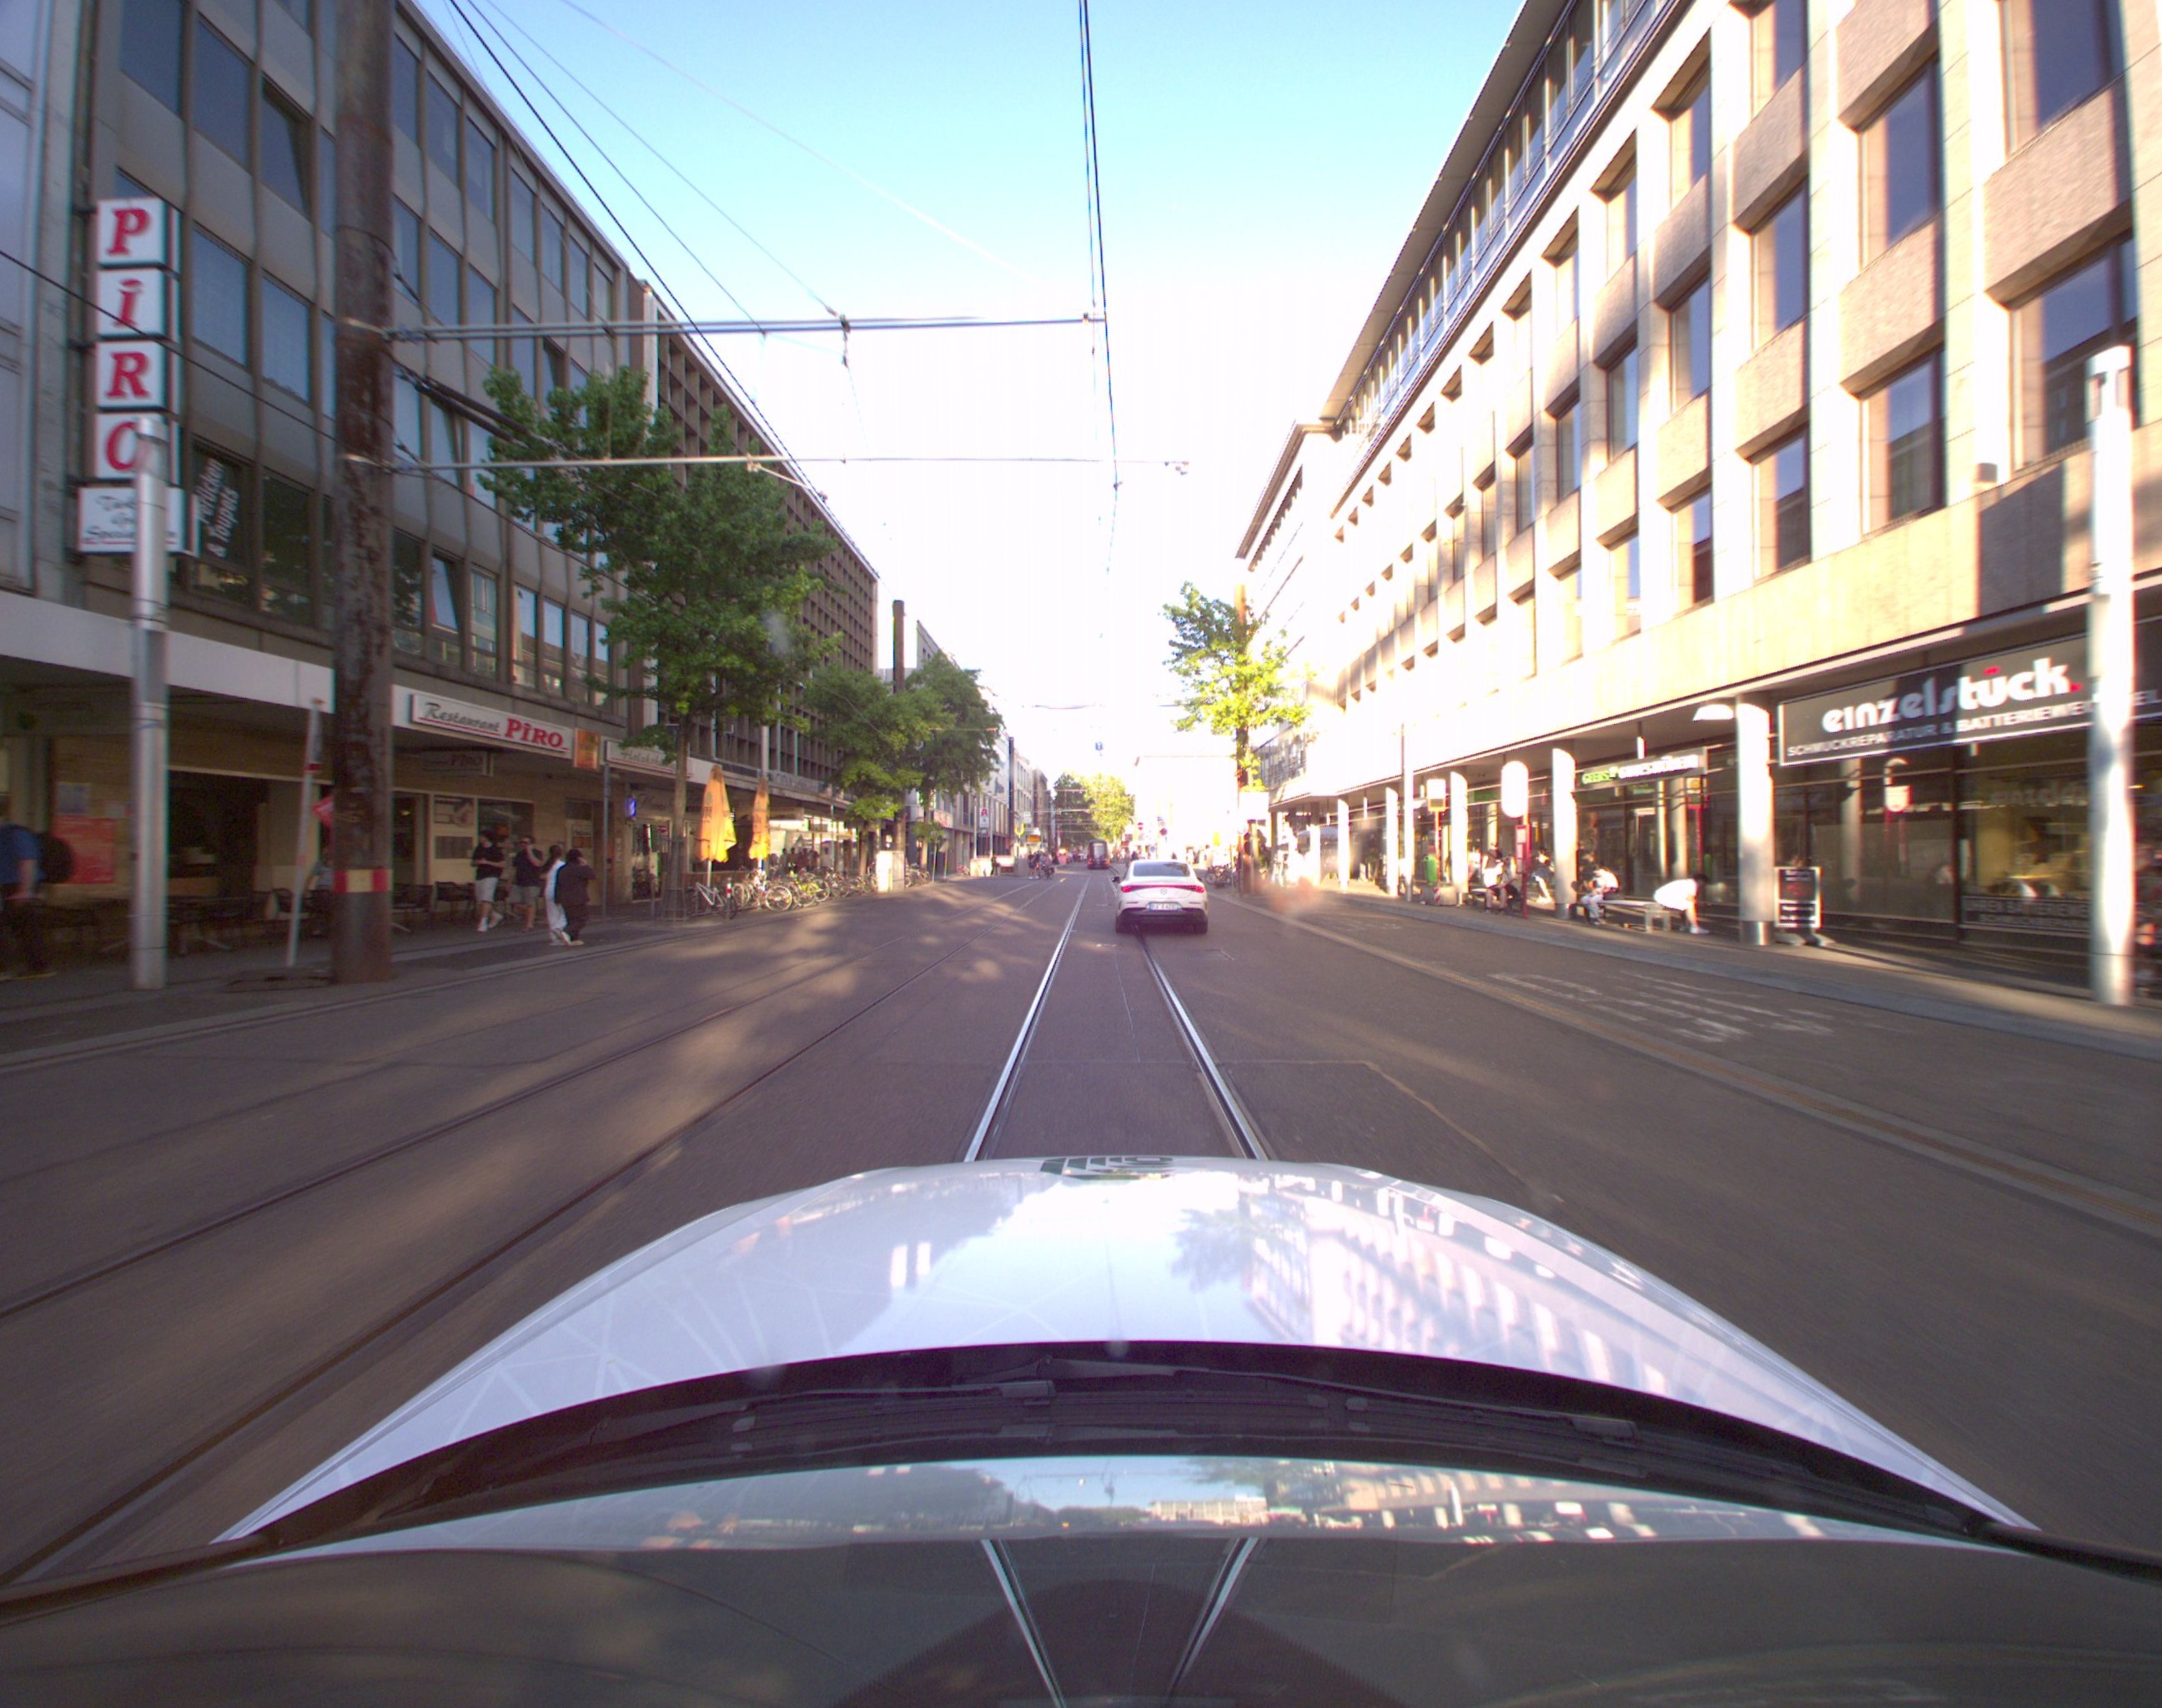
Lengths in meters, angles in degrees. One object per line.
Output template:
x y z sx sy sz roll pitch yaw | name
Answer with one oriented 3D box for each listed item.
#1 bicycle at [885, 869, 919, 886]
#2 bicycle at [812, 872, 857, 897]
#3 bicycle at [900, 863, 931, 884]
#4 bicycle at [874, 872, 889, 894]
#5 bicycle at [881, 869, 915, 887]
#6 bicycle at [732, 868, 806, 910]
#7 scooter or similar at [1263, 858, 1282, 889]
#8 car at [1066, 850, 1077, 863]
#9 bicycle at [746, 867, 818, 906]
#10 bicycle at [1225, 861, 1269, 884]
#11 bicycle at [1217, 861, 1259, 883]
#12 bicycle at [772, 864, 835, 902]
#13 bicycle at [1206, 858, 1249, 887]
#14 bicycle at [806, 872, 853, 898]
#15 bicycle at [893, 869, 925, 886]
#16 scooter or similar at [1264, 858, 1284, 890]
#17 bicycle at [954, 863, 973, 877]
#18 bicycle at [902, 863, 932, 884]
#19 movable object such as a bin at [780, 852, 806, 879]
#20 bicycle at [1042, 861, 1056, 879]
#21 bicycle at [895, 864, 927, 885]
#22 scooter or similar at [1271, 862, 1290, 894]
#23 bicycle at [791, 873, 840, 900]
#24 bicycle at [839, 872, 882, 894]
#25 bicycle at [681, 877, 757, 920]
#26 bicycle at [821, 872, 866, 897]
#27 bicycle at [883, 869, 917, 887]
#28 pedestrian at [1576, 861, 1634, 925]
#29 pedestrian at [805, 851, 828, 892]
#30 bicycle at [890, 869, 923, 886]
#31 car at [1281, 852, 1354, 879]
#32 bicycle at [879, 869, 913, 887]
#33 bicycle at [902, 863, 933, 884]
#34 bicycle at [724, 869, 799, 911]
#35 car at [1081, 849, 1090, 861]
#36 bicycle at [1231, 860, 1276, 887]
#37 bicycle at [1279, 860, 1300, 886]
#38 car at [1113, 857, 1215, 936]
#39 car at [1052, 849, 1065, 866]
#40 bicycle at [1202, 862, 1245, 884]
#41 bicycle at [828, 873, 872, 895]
-8.471 1.120 38.550 1.487 0.783 0.345 1 0 2 | bicycle
-8.644 1.080 28.578 1.487 0.841 0.345 1 0 2 | bicycle
-8.263 0.995 40.678 1.492 1.029 0.343 1 0 -9 | bicycle
-7.724 1.122 31.548 0.343 0.783 1.402 1 0 -6 | bicycle
-8.503 1.118 37.831 1.487 0.783 0.345 1 0 2 | bicycle
-8.329 0.931 21.754 1.785 1.077 0.376 1 0 -3 | bicycle
8.136 0.803 34.543 0.527 1.277 0.658 -2 0 -10 | scooter or similar
-1.973 0.514 168.765 1.903 2.461 5.276 -1 0 2 | car
-8.416 0.917 22.973 1.842 1.077 0.376 1 0 -3 | bicycle
8.393 0.940 41.138 2.115 1.096 0.607 -1 -1 -12 | bicycle
8.372 0.957 43.337 2.114 1.096 0.607 -1 -1 -11 | bicycle
-8.679 0.915 25.500 1.839 1.141 0.377 1 0 2 | bicycle
6.991 0.859 38.836 1.908 1.281 0.607 -2 0 -11 | bicycle
-8.699 1.077 28.198 1.487 0.841 0.345 1 0 2 | bicycle
-8.299 1.123 39.280 1.487 0.783 0.345 1 0 2 | bicycle
8.030 0.833 33.920 0.527 1.277 0.658 -2 0 -10 | scooter or similar
-8.909 1.213 61.884 0.713 1.010 2.047 -1 0 15 | bicycle
-8.265 0.996 41.053 1.492 1.029 0.343 1 0 -9 | bicycle
-11.357 0.442 32.152 0.713 1.039 0.980 -1 0 -5 | movable object such as a bin
-2.135 1.078 54.775 0.797 1.142 2.257 1 0 0 | bicycle
-8.406 0.997 40.241 1.492 1.009 0.343 1 0 -9 | bicycle
8.159 0.969 33.283 0.491 1.277 0.658 -2 0 -10 | scooter or similar
-8.735 1.064 26.834 1.490 0.876 0.344 1 0 -5 | bicycle
-8.267 1.088 30.576 1.487 0.783 0.345 1 0 2 | bicycle
-8.222 1.003 18.490 1.587 0.930 0.378 1 0 7 | bicycle
-8.494 1.086 29.181 1.487 0.841 0.345 1 0 2 | bicycle
-8.489 1.120 38.190 1.487 0.783 0.345 1 0 2 | bicycle
10.159 0.737 15.821 0.663 1.198 0.786 0 0 6 | pedestrian
-10.691 0.698 32.908 0.713 1.639 0.683 -1 0 -5 | pedestrian
-8.341 1.128 38.912 1.487 0.783 0.345 1 0 2 | bicycle
13.894 0.663 47.939 3.794 1.473 1.647 -1 0 -4 | car
-8.514 1.118 37.476 1.487 0.783 0.345 1 0 2 | bicycle
-8.302 1.001 41.426 1.492 1.029 0.343 1 0 -9 | bicycle
-8.332 0.936 21.269 1.785 1.077 0.376 1 0 -3 | bicycle
1.154 0.161 200.788 2.091 2.897 5.276 -1 0 2 | car
8.018 0.896 37.874 1.908 1.156 0.607 -2 0 -11 | bicycle
9.409 0.833 36.866 0.562 1.127 1.932 -2 0 5 | bicycle
1.631 0.794 17.291 1.850 1.455 4.176 0 0 2 | car
-4.071 0.646 149.996 1.986 2.897 5.276 -1 0 2 | car
7.300 0.986 41.817 2.114 1.096 0.607 0 -1 -11 | bicycle
-8.476 1.094 29.925 1.487 0.783 0.345 1 0 2 | bicycle
